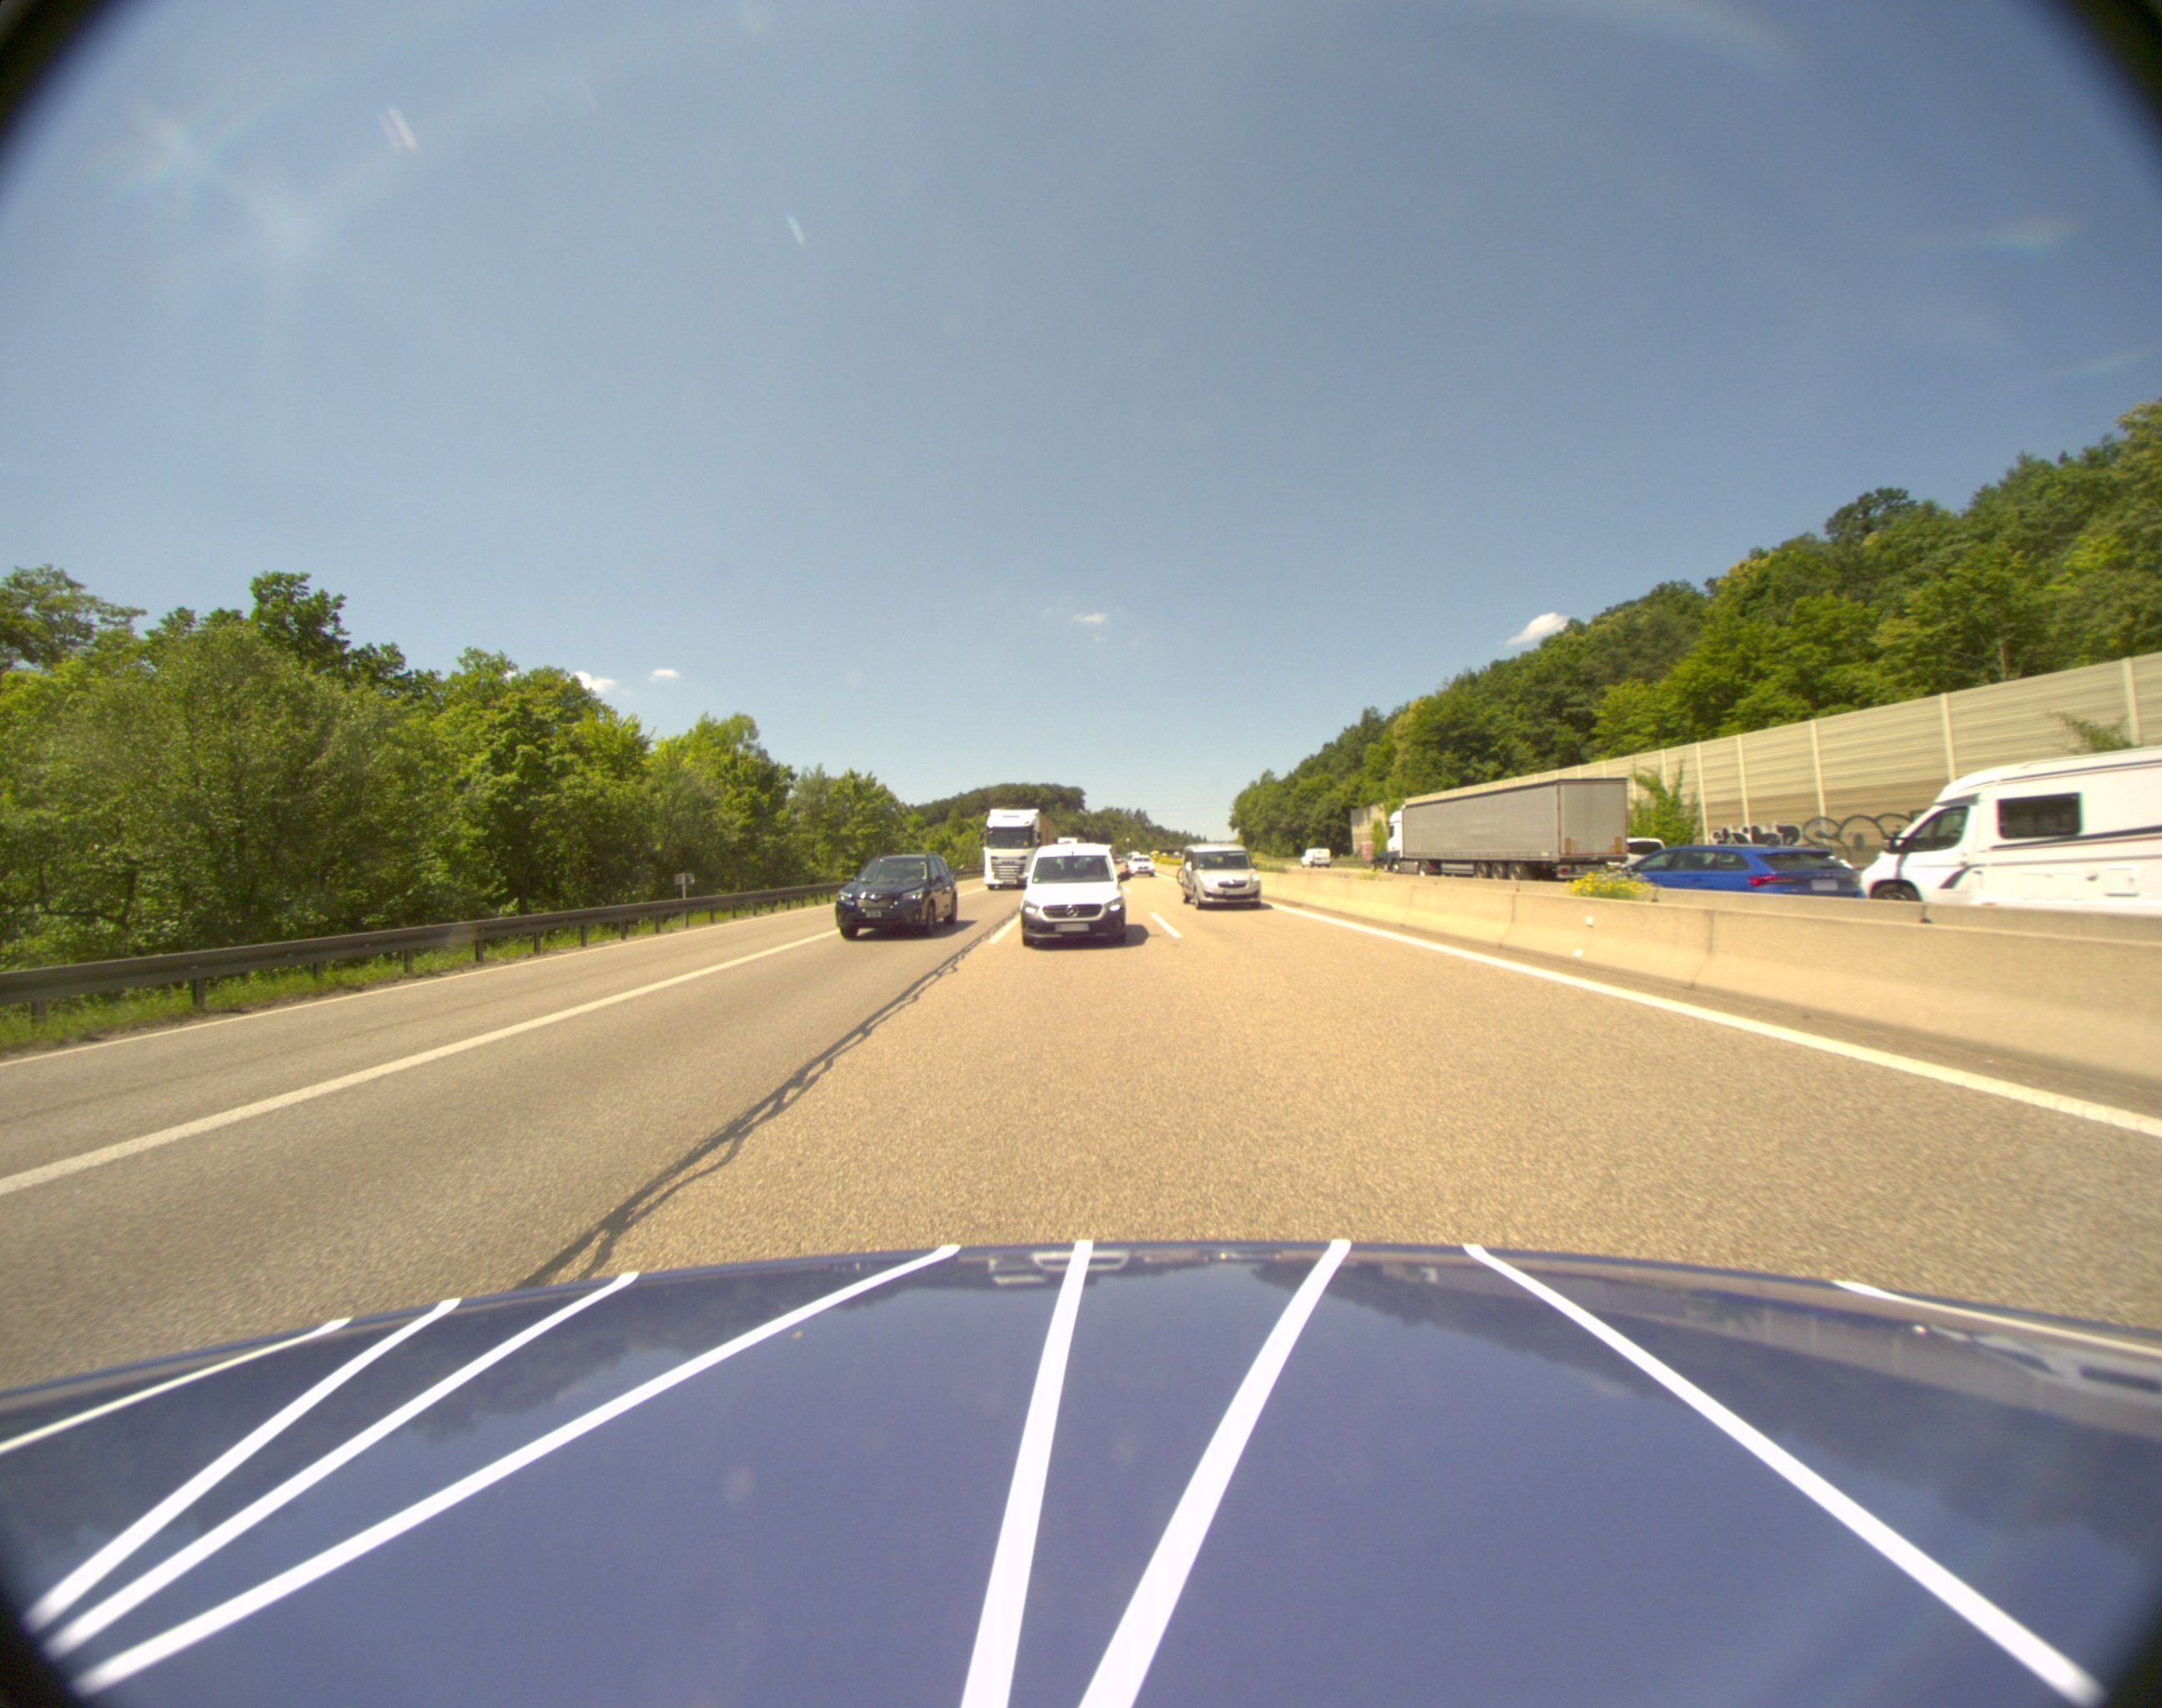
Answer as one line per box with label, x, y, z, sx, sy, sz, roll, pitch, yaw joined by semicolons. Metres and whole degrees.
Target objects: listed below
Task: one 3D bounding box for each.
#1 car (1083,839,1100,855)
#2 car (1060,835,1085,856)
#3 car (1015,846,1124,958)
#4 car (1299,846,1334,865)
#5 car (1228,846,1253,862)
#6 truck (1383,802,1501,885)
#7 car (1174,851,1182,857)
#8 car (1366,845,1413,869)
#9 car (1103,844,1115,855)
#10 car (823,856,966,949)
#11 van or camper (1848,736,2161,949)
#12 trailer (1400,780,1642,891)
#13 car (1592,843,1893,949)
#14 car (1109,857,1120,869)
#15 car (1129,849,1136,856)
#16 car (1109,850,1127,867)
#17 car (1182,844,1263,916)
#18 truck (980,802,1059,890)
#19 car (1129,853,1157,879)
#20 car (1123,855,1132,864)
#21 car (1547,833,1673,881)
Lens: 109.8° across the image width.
car;1.815;-1.212;132.278;2.721;2.534;5.941;-1;1;3
car;-0.998;-1.089;95.376;2.721;2.534;5.941;-1;1;3
car;-0.068;0.764;14.503;1.729;1.760;4.313;-1;1;3
car;23.857;0.125;77.200;1.926;1.856;5.303;-1;1;1
car;17.153;-0.003;81.820;1.814;1.566;4.602;-2;0;1
truck;18.732;-0.530;40.022;2.820;3.886;7.315;-1;1;1
car;25.447;-0.009;198.813;1.646;1.641;3.713;-2;0;2
car;22.522;0.201;55.599;1.814;1.631;4.098;-2;0;1
car;6.663;-1.103;179.719;2.721;2.534;5.941;-1;1;3
car;-3.862;0.927;16.536;1.816;1.658;4.204;-1;1;3
van or camper;14.917;-0.174;10.241;2.275;2.720;6.804;-1;1;0
trailer;18.634;-0.744;34.070;2.820;3.886;13.825;-1;1;0
car;11.278;0.626;13.422;1.715;1.529;4.128;-2;0;0
car;6.026;1.600;135.943;1.902;2.002;4.000;-2;0;1
car;14.113;-0.387;208.037;1.678;2.002;3.906;-2;0;1
car;4.541;0.581;94.551;1.998;2.002;4.000;-2;0;1
car;3.955;0.672;21.841;1.780;1.833;4.001;-1;0;3
truck;-3.208;-0.411;44.680;2.789;4.144;16.268;-2;0;1
car;4.809;0.888;58.970;1.998;1.827;4.000;-2;0;3
car;10.551;1.316;172.485;1.998;2.002;4.000;-2;0;2
car;22.255;0.101;32.279;1.814;1.800;5.107;-2;0;1
